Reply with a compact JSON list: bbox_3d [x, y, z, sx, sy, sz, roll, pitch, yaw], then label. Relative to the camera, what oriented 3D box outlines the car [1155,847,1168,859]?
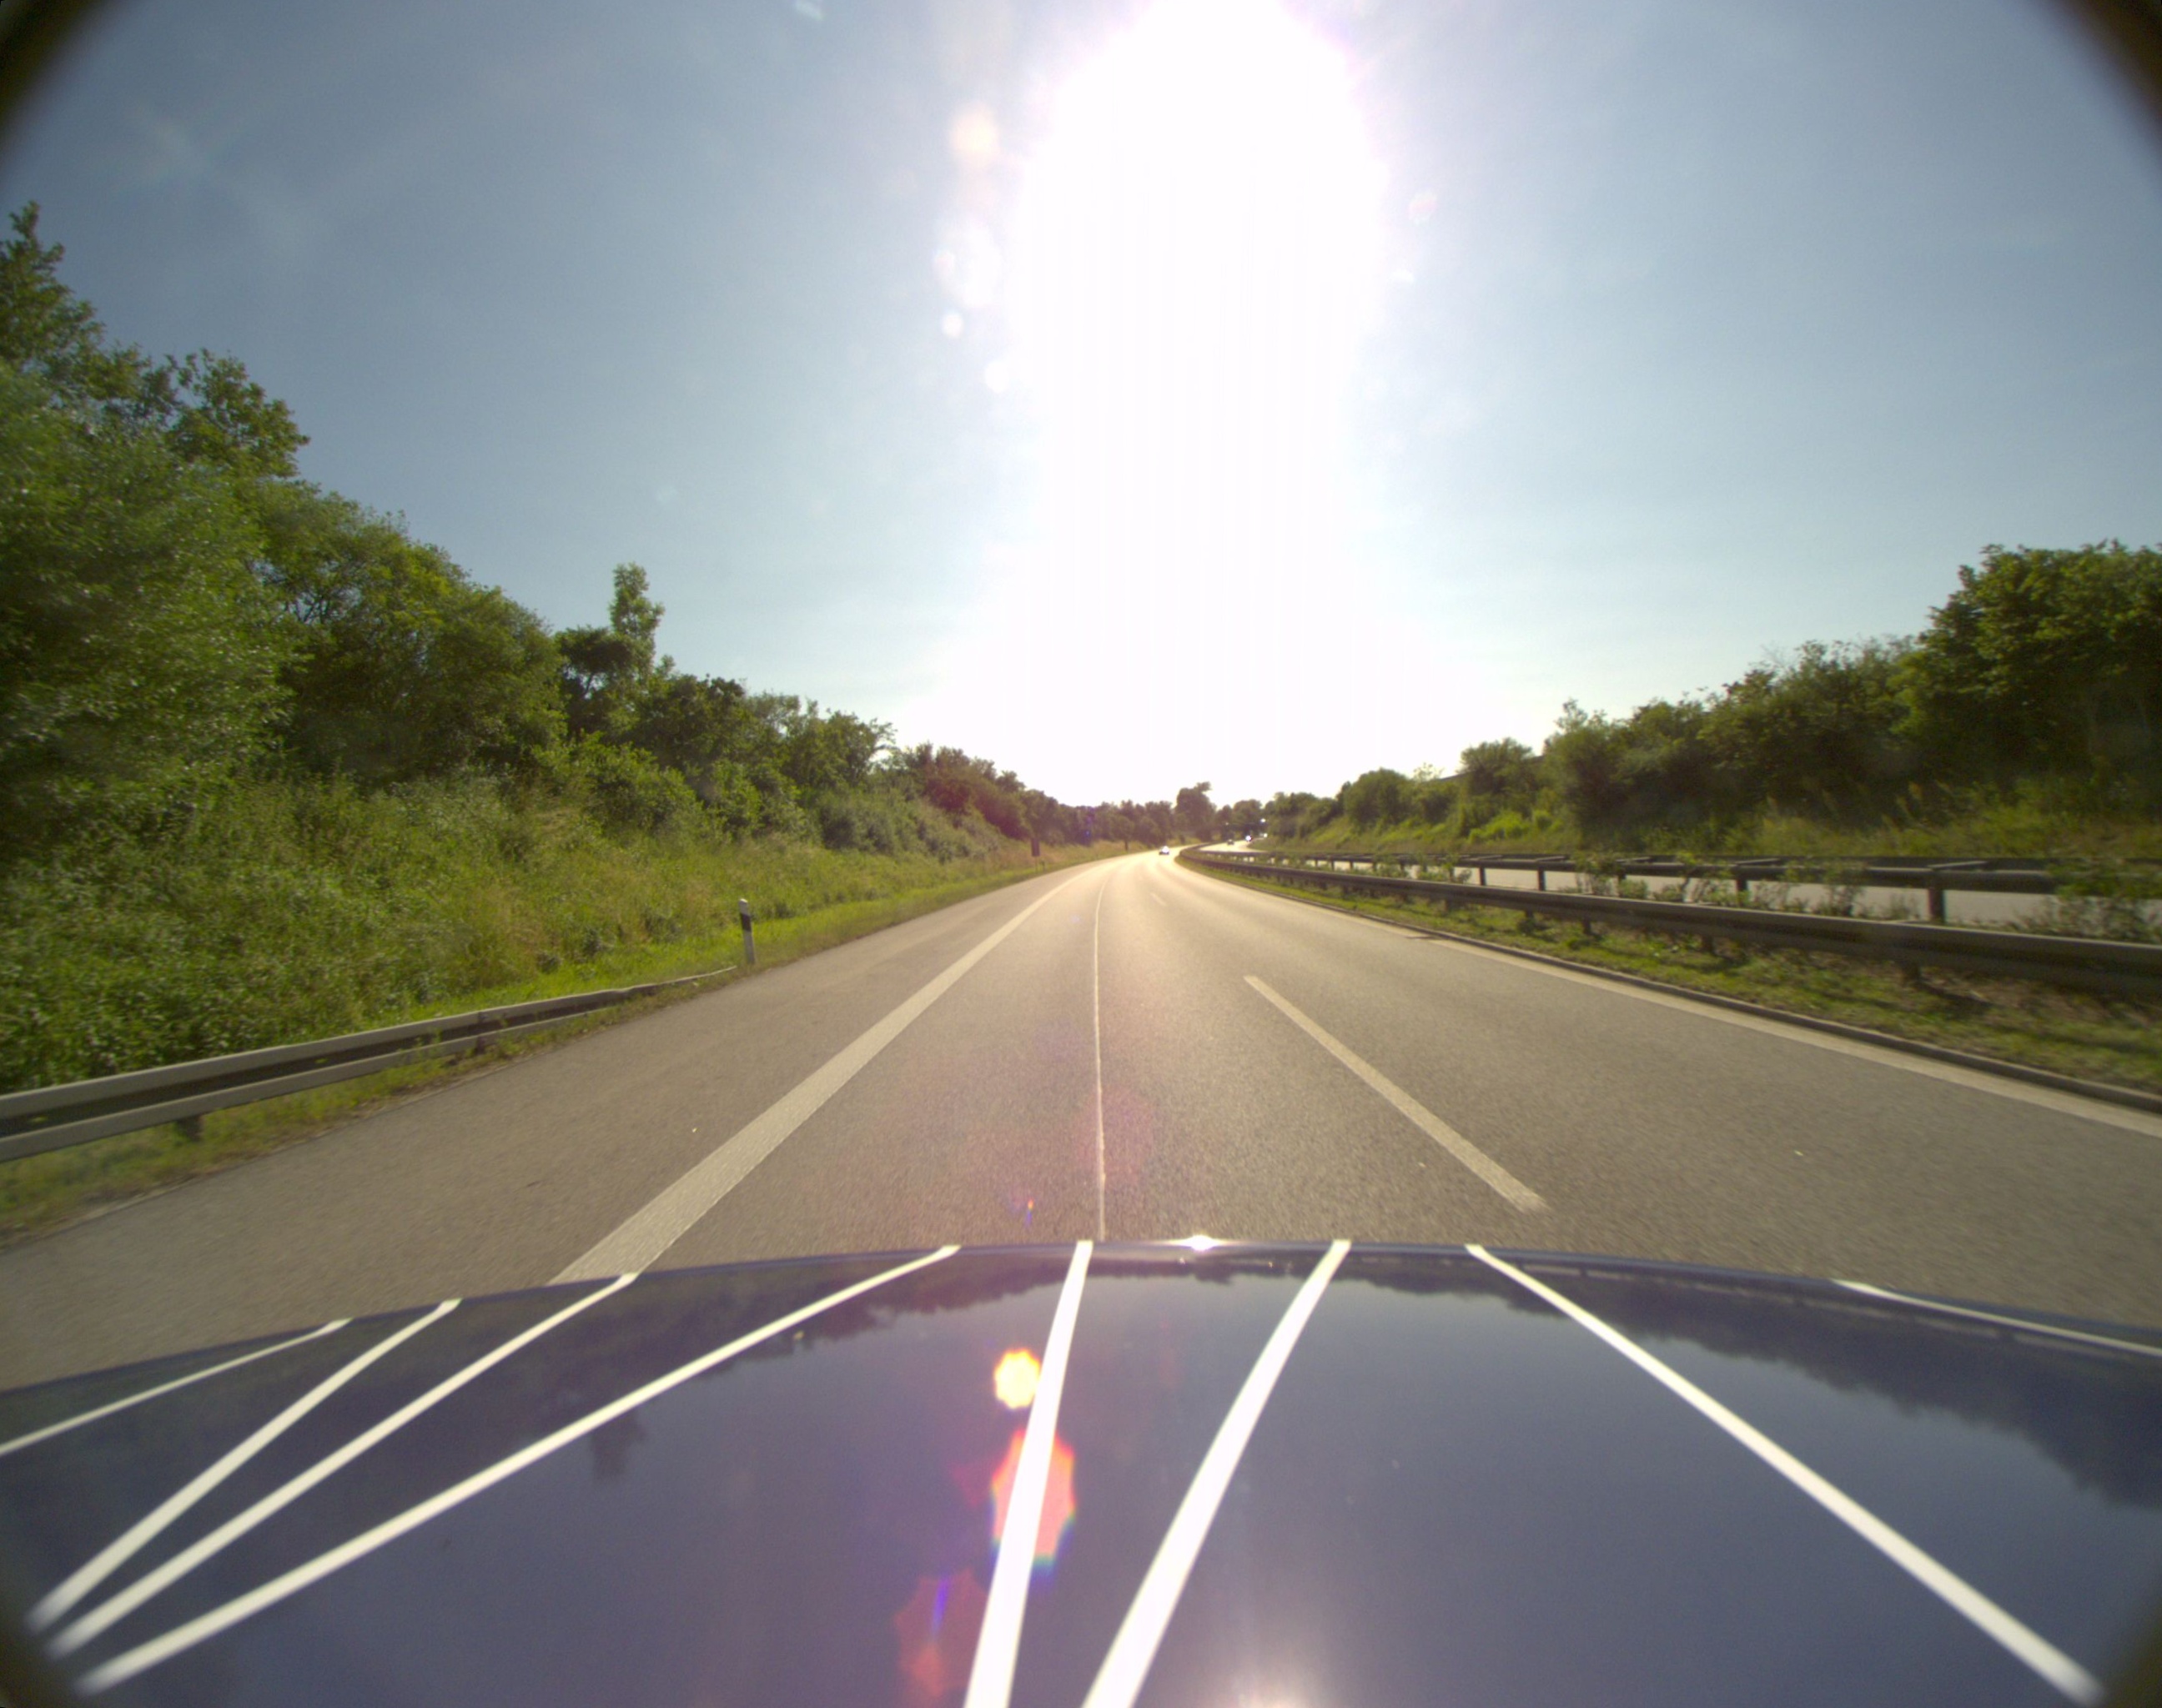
[{"bbox_3d":[14.489,-0.249,136.581,1.998,2.002,4.601,-5,1,6],"label":"car"}]

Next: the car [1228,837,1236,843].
[{"bbox_3d":[41.236,-3.831,207.777,1.903,1.414,4.400,-1,1,6],"label":"car"}]
